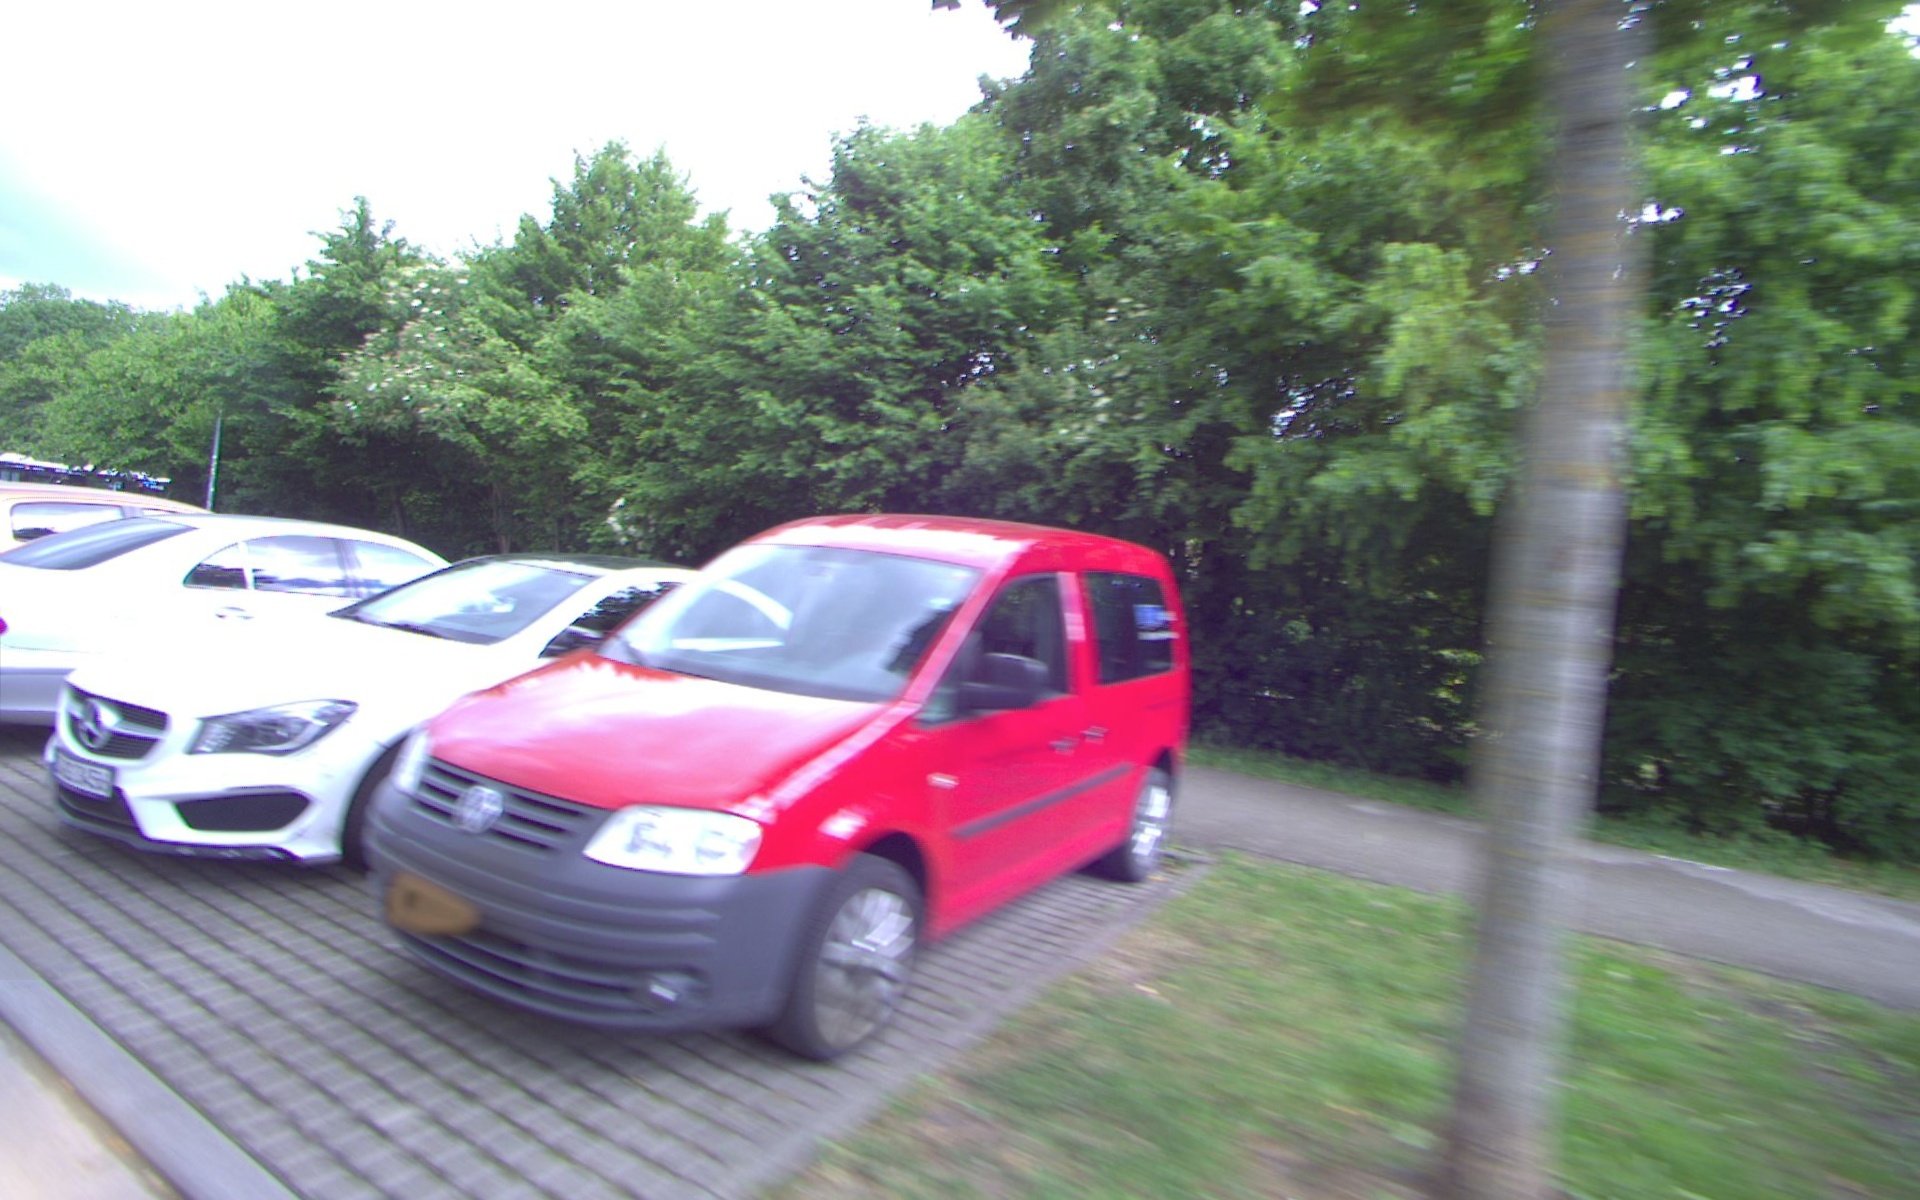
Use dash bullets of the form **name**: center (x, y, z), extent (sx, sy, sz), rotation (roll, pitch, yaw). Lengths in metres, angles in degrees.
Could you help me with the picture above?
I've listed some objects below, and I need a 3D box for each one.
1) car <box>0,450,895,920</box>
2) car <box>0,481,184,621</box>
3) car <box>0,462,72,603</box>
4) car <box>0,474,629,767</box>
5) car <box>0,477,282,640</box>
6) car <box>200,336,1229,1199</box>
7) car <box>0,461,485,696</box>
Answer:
- **car**: center (-2.433, 0.395, 5.800), extent (1.884, 1.592, 4.387), rotation (6, -2, 30)
- **car**: center (-12.801, -0.774, 12.608), extent (1.884, 1.601, 4.387), rotation (7, -1, 30)
- **car**: center (-15.092, -1.183, 13.416), extent (1.884, 1.926, 4.387), rotation (7, -1, 30)
- **car**: center (-4.800, 0.169, 7.169), extent (1.884, 1.492, 4.387), rotation (7, -1, 30)
- **car**: center (-10.694, -0.547, 11.523), extent (1.884, 1.601, 4.387), rotation (7, -1, 30)
- **car**: center (-0.399, 0.463, 4.595), extent (1.904, 1.927, 4.387), rotation (7, -1, 30)
- **car**: center (-6.777, -0.117, 8.733), extent (1.884, 1.637, 4.387), rotation (7, -1, 30)
